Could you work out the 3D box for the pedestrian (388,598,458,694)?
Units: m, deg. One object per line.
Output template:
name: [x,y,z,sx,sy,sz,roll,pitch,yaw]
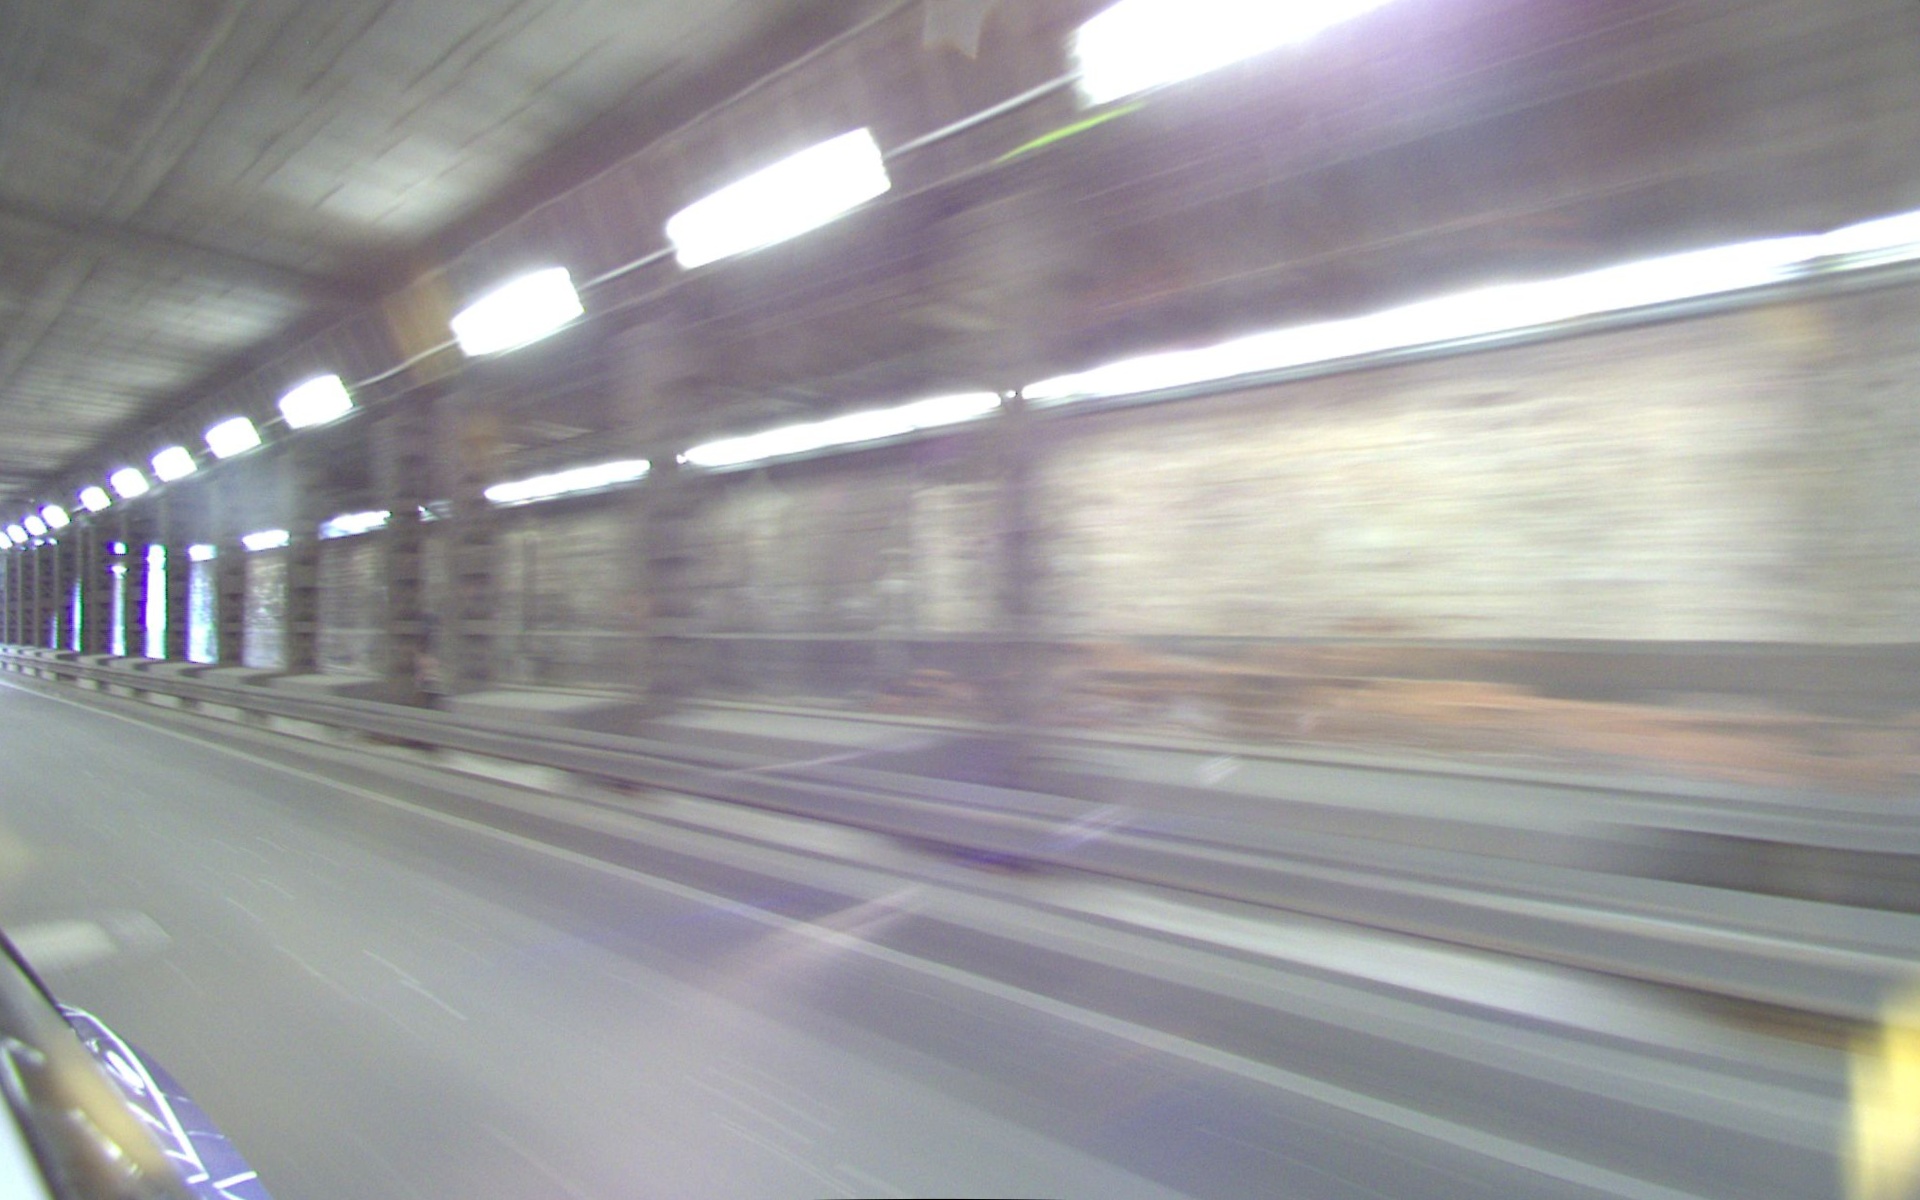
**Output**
pedestrian: [-12.009,0.996,22.622,1.355,2.071,0.948,0,0,42]
